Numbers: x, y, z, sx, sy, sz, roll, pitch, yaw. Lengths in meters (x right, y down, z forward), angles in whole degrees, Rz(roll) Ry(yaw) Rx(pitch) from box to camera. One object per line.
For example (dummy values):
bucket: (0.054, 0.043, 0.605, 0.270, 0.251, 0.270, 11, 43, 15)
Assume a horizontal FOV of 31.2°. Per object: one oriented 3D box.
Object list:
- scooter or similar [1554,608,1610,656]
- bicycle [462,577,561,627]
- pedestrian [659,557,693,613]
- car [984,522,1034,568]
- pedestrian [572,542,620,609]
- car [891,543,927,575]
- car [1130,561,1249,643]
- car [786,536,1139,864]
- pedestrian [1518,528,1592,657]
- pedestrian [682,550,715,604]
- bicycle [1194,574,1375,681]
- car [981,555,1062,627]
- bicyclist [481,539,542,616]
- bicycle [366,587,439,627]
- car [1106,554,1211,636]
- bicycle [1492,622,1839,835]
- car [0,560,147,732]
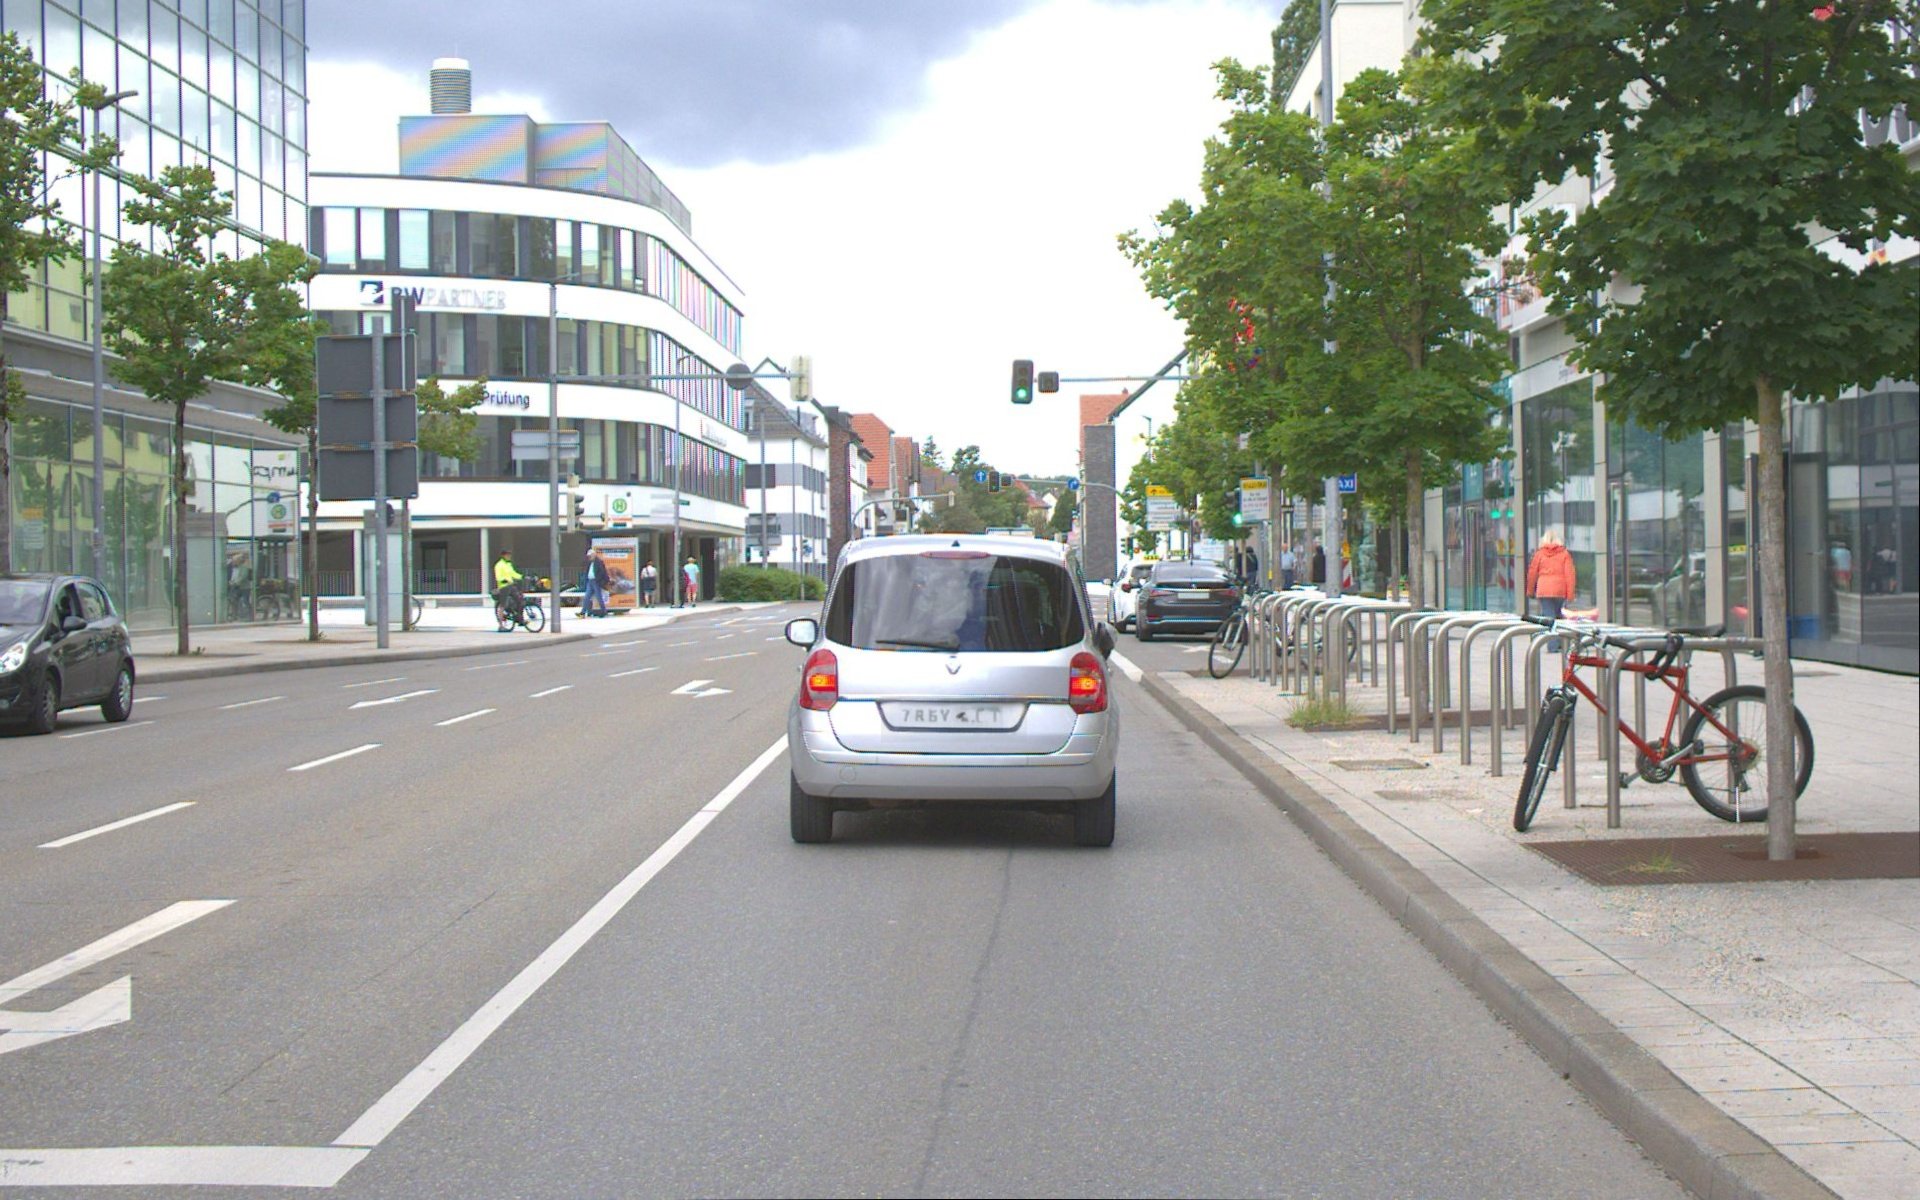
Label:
scooter or similar: (7.686, 0.395, 42.472, 0.550, 0.544, 0.642, -4, 1, 1)
bicycle: (-9.898, 0.045, 75.788, 1.006, 1.015, 3.130, 1, 0, -30)
pedestrian: (-9.407, -0.499, 113.909, 0.960, 1.827, 1.250, -1, 1, 1)
car: (2.205, -2.495, 154.937, 2.170, 2.007, 4.258, -1, 1, 1)
pedestrian: (-10.044, -0.675, 94.767, 1.246, 1.827, 0.964, -1, 1, -8)
car: (-3.248, -2.647, 220.466, 2.170, 2.007, 4.258, -1, 1, 1)
car: (4.030, 0.011, 60.828, 1.877, 1.330, 4.000, 2, 1, 1)
car: (-0.038, 0.452, 18.476, 1.669, 1.549, 3.642, 1, 1, -2)
pedestrian: (7.493, -0.101, 43.296, 0.710, 1.569, 0.812, -4, 1, 1)
pedestrian: (-8.989, -0.801, 118.176, 0.960, 1.827, 1.250, -1, 1, 1)
bicycle: (3.456, 0.283, 36.684, 1.825, 1.071, 0.752, -2, 1, 0)
car: (1.382, -0.223, 78.556, 1.669, 1.549, 3.642, 2, 1, -1)
bicyclist: (-9.887, -0.504, 75.798, 1.006, 1.655, 0.933, 1, 0, -30)
bicycle: (-13.372, 0.161, 82.394, 0.827, 0.895, 2.525, -1, 1, -32)
car: (3.868, -0.117, 67.520, 1.877, 1.503, 4.000, 2, 1, 1)
bicycle: (3.409, 0.614, 16.721, 1.561, 0.989, 0.752, 0, 1, 4)
car: (-8.900, 0.394, 31.951, 1.660, 1.475, 4.000, -1, 1, 1)
